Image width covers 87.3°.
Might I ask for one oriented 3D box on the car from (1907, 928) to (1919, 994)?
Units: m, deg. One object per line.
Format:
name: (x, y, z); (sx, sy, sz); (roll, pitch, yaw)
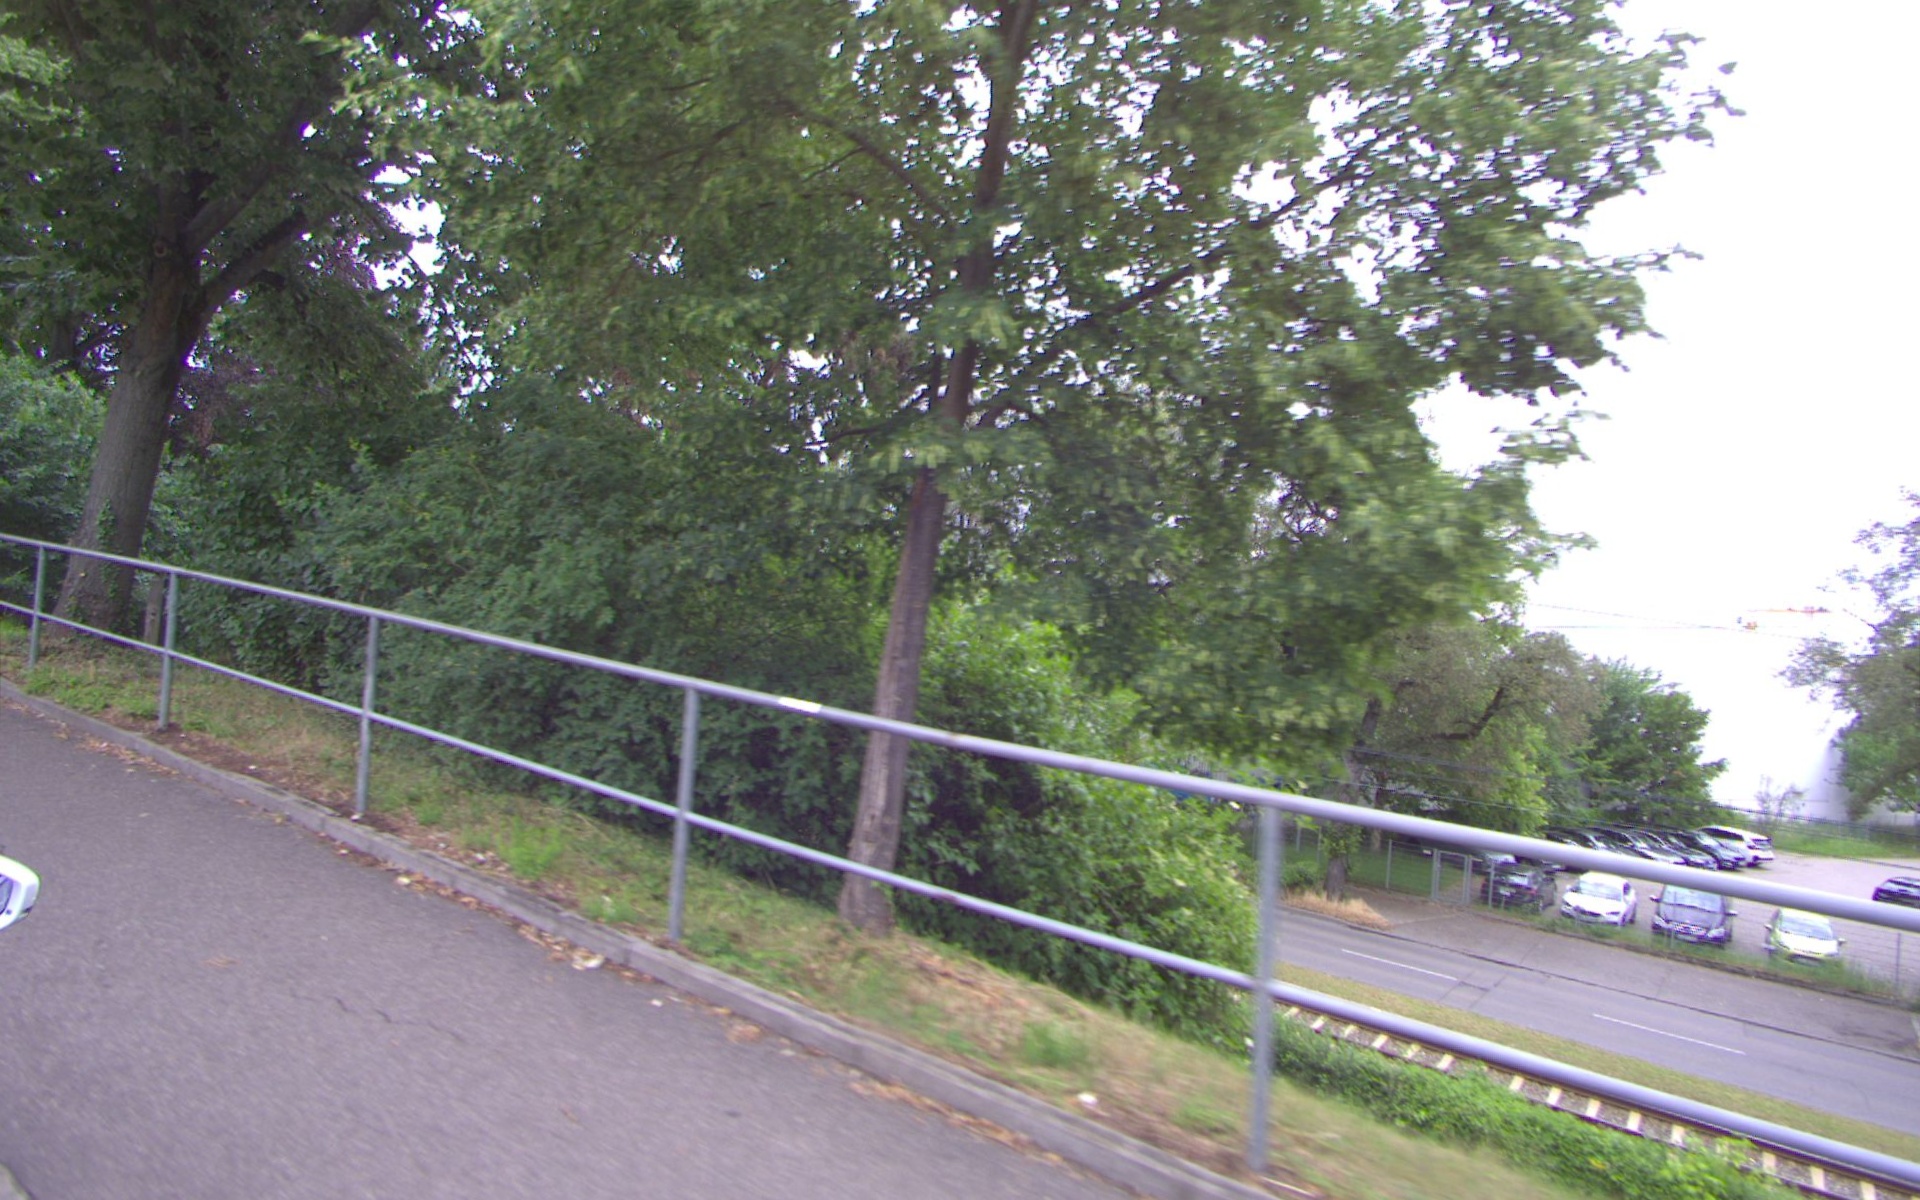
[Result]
car: (28.010, 10.374, 27.981); (1.971, 1.484, 4.332); (7, -4, 39)

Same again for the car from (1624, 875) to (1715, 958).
car: (22.806, 10.055, 32.261); (1.971, 1.486, 4.327); (7, -1, 39)

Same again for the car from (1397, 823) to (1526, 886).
car: (20.883, 10.602, 42.111); (1.975, 1.418, 4.524); (8, -1, -24)

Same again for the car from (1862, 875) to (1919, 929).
car: (37.715, 11.882, 39.584); (4.296, 1.486, 1.985); (8, -1, -30)

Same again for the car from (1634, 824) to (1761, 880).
car: (34.679, 11.827, 47.404); (1.979, 1.486, 4.310); (8, -1, -30)

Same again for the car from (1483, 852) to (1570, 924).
car: (19.760, 9.949, 35.021); (1.800, 1.523, 4.327); (7, -1, 39)

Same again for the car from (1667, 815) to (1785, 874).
car: (37.421, 11.925, 49.251); (1.974, 1.832, 3.978); (8, -1, -23)

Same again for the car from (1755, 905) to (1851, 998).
car: (25.444, 10.530, 30.452); (1.971, 1.486, 4.327); (7, -1, 39)

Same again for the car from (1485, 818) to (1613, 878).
car: (25.653, 10.787, 43.950); (1.979, 1.486, 4.310); (8, -1, -30)

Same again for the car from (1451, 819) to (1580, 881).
car: (23.583, 10.598, 42.877); (1.979, 1.486, 4.310); (8, -1, -30)

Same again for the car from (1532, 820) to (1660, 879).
car: (28.294, 11.083, 44.880); (1.979, 1.486, 4.310); (8, -1, -30)

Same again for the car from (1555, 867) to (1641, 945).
car: (21.350, 10.125, 33.600); (1.800, 1.523, 4.327); (7, -1, 39)

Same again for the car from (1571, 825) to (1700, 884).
car: (30.392, 11.428, 45.412); (1.979, 1.486, 4.310); (8, -1, -30)
